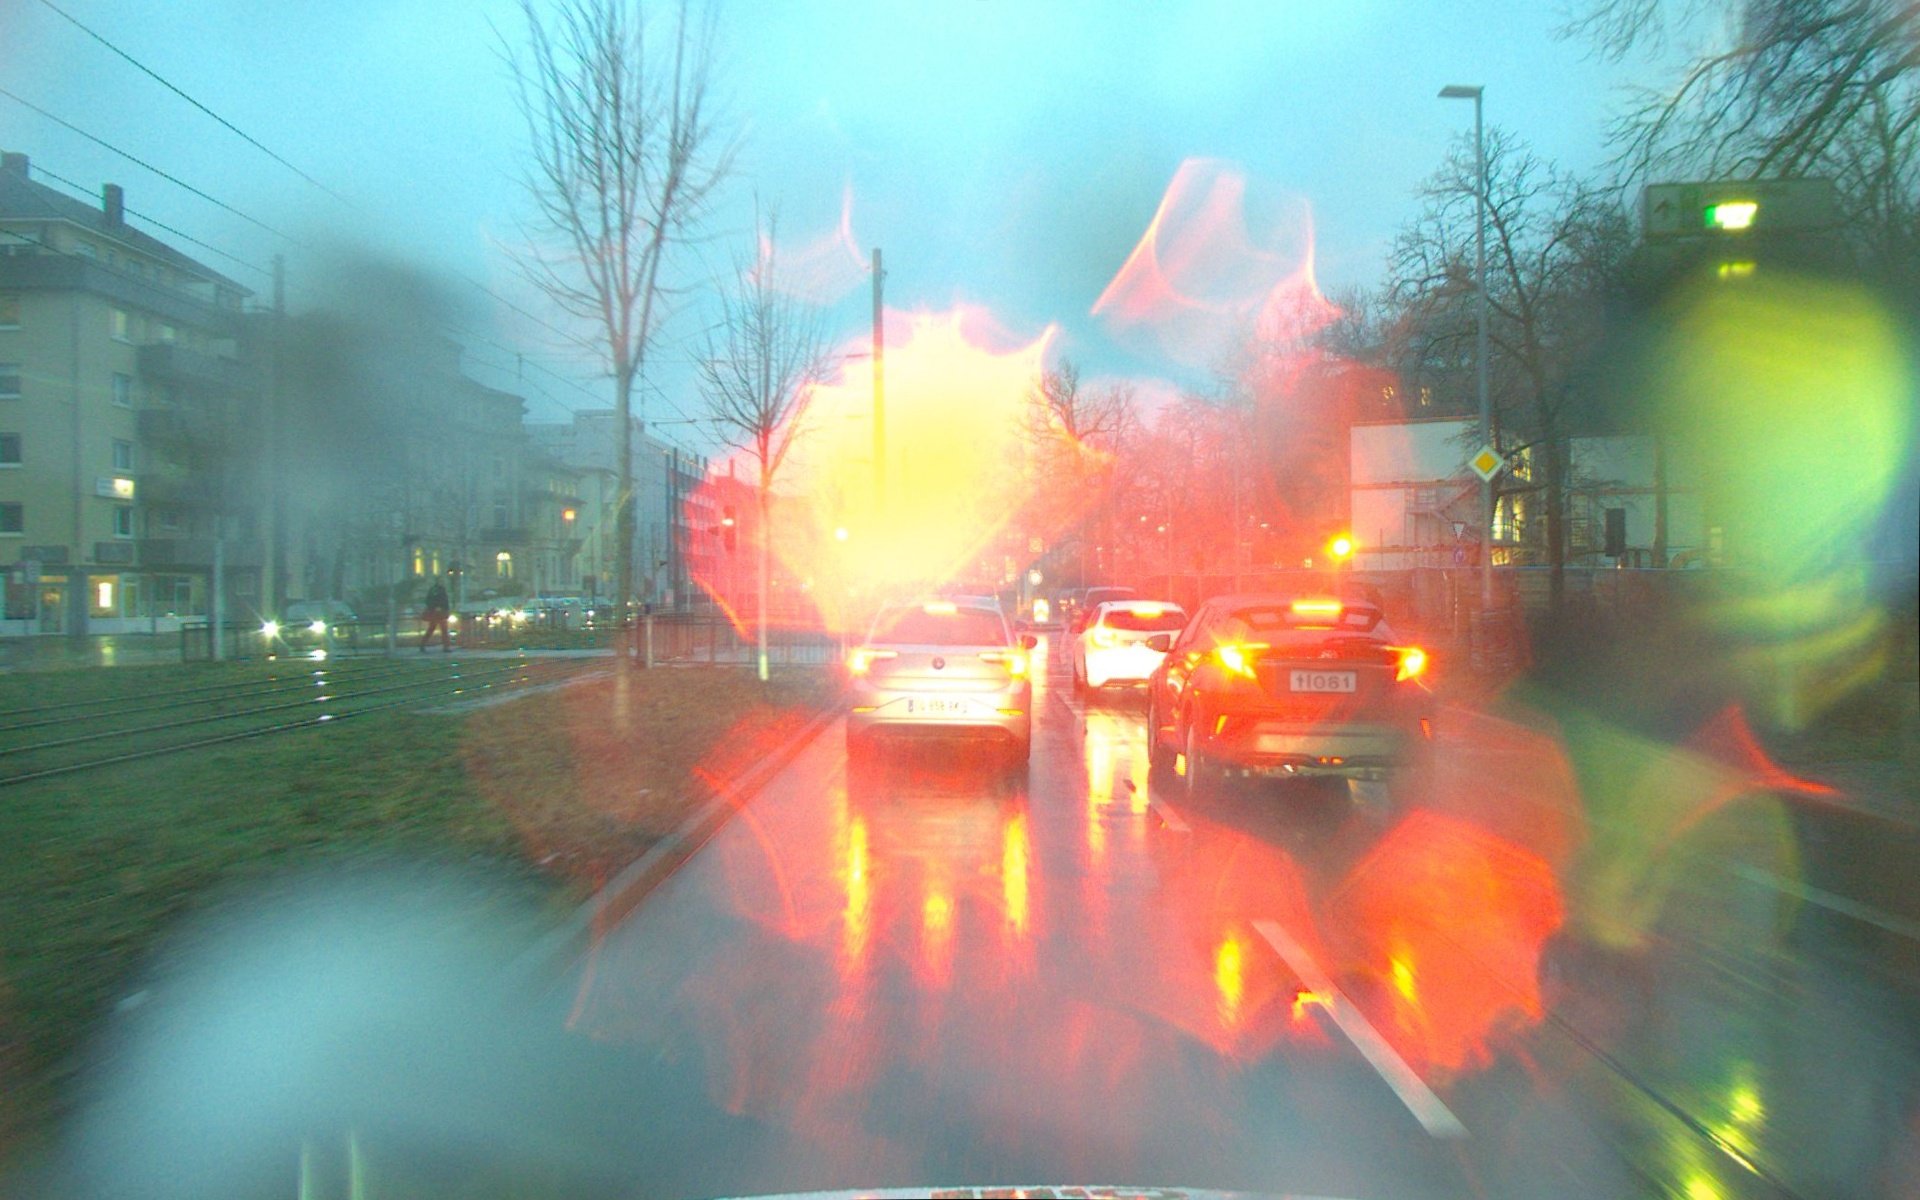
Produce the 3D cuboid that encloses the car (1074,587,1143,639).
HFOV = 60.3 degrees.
[{"bbox_3d":[4.310,0.344,48.475,1.702,1.444,3.703,-1,0,1],"label":"car"}]

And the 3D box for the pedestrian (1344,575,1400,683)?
[{"bbox_3d":[7.987,0.551,32.116,0.938,2.049,1.008,-1,0,9],"label":"pedestrian"}]

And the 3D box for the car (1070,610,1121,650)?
[{"bbox_3d":[5.189,1.129,63.796,1.702,1.444,3.703,-1,0,1],"label":"car"}]

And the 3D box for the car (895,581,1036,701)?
[{"bbox_3d":[0.094,0.504,23.114,1.762,1.492,4.586,-1,0,1],"label":"car"}]

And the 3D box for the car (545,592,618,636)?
[{"bbox_3d":[-14.927,0.531,65.372,1.953,1.630,3.999,1,0,0],"label":"car"}]

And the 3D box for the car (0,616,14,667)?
[{"bbox_3d":[-39.071,1.580,64.089,3.677,1.976,1.839,1,0,-8],"label":"car"}]

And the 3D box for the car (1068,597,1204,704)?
[{"bbox_3d":[2.601,0.719,25.127,1.709,1.458,3.732,1,0,1],"label":"car"}]

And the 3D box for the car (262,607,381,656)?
[{"bbox_3d":[-19.160,0.913,49.825,1.821,1.355,4.315,1,0,0],"label":"car"}]

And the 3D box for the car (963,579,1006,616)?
[{"bbox_3d":[1.008,-0.106,69.014,1.702,1.444,4.394,-1,0,1],"label":"car"}]

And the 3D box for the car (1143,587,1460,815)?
[{"bbox_3d":[2.536,0.689,13.188,1.763,1.537,3.895,0,0,1],"label":"car"}]

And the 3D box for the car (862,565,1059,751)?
[{"bbox_3d":[-0.045,0.479,16.010,1.659,1.560,3.999,1,0,-2],"label":"car"}]

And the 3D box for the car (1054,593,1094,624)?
[{"bbox_3d":[5.453,0.378,79.445,1.702,1.444,4.146,-1,0,1],"label":"car"}]

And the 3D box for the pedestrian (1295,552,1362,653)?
[{"bbox_3d":[7.640,0.049,34.307,0.945,2.049,1.001,-1,0,-22],"label":"pedestrian"}]

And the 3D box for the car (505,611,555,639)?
[{"bbox_3d":[-20.639,1.176,79.477,1.658,1.300,4.143,0,0,-5],"label":"car"}]

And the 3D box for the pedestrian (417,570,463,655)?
[{"bbox_3d":[-12.899,0.304,41.011,0.991,2.049,0.955,-1,0,-23],"label":"pedestrian"}]
